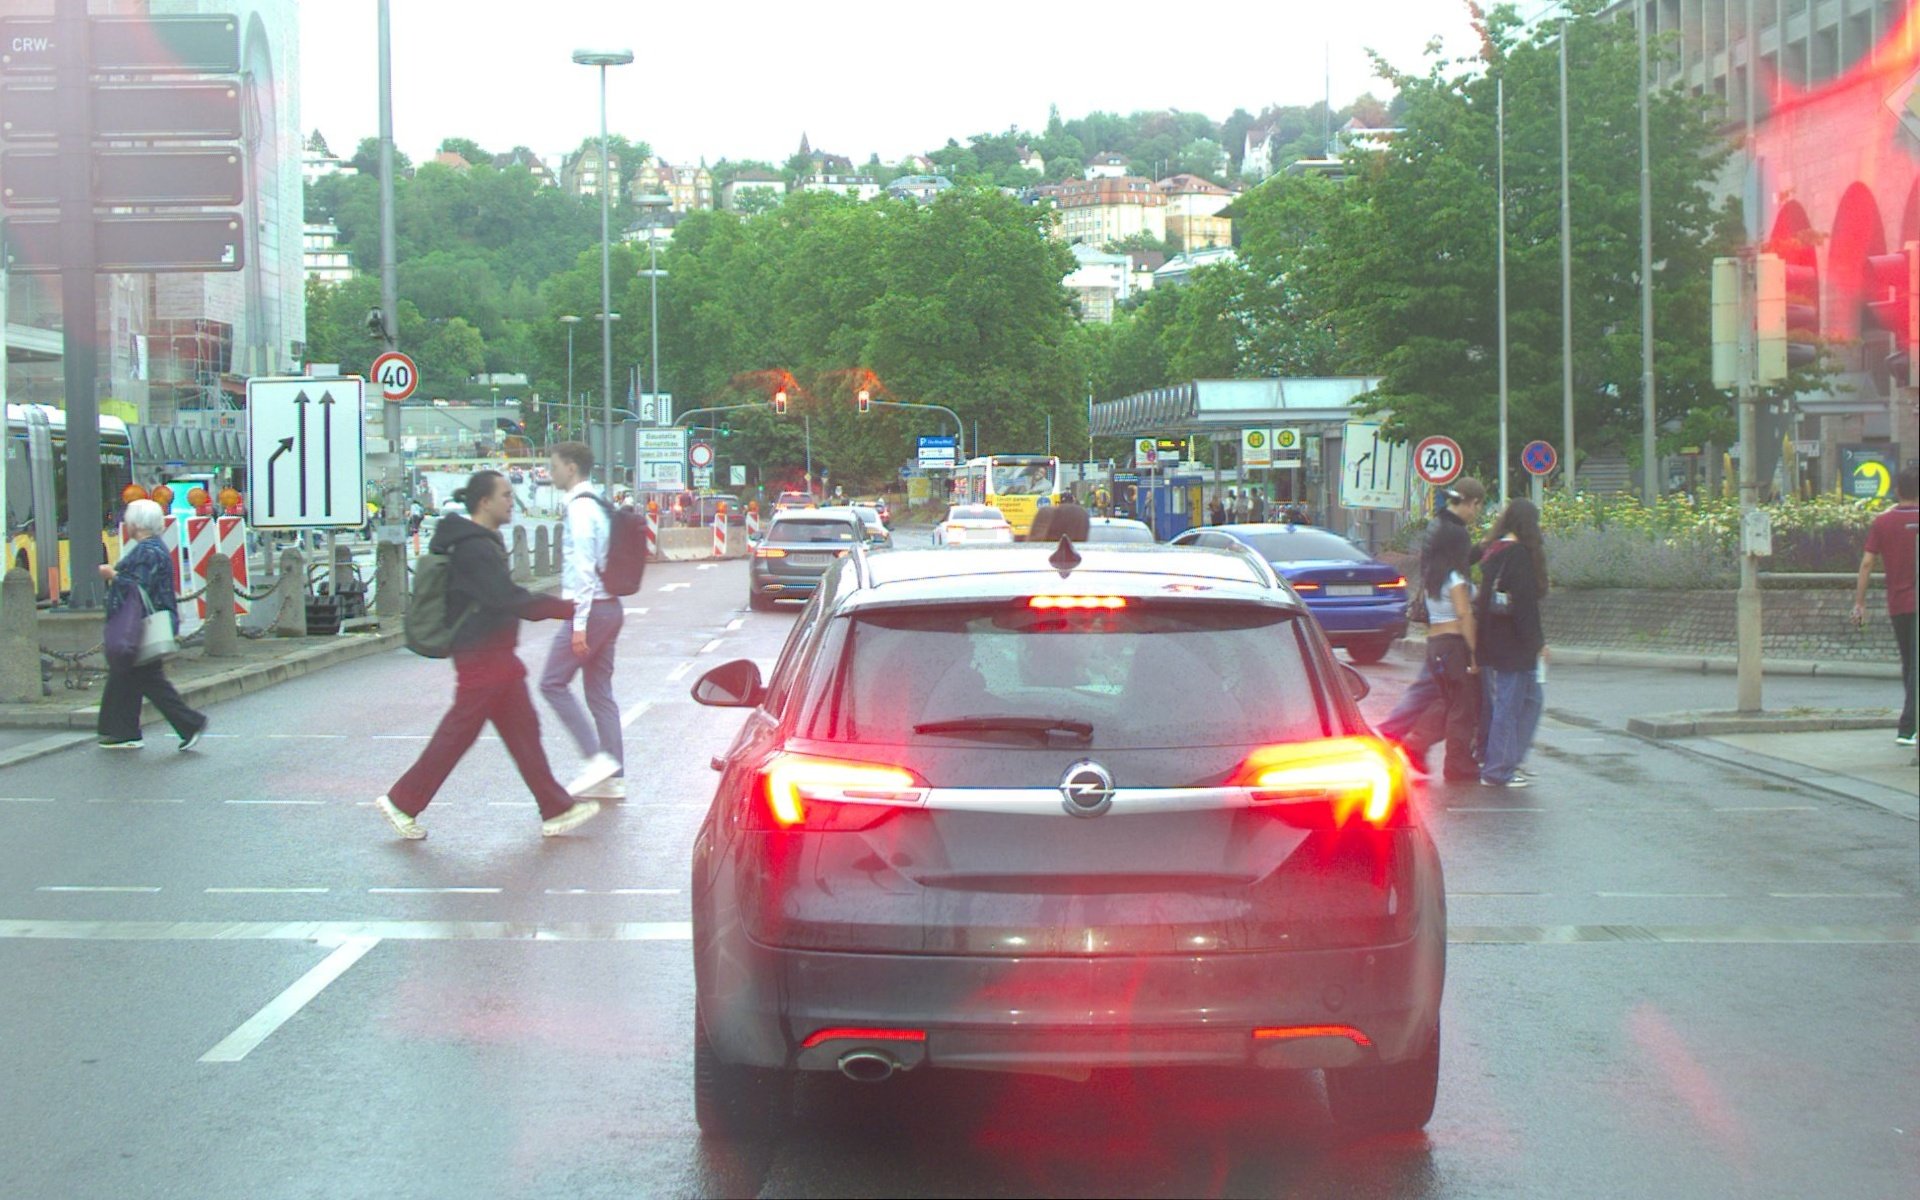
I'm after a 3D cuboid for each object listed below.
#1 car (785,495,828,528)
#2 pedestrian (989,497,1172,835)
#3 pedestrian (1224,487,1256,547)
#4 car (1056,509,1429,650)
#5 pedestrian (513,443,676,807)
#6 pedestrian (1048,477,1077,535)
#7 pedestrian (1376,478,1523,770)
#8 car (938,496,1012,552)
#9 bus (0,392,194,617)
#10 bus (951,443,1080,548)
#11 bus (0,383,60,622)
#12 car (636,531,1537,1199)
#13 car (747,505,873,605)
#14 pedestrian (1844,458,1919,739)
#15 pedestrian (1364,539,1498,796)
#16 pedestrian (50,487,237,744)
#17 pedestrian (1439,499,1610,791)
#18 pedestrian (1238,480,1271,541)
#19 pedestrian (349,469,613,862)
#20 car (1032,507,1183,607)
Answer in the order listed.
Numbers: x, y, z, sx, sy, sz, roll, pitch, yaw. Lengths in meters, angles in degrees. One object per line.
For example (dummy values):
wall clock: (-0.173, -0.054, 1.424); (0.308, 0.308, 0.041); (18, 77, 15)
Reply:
car: (-6.766, -3.877, 151.582); (1.759, 1.393, 3.564); (1, 1, -1)
pedestrian: (0.587, 0.313, 17.025); (0.793, 1.620, 0.900); (1, 1, -4)
pedestrian: (7.892, -2.333, 96.971); (0.763, 1.684, 0.825); (1, 1, -5)
car: (2.898, -0.249, 36.391); (1.753, 1.393, 4.650); (0, 1, -27)
pedestrian: (-1.937, 0.127, 18.158); (0.798, 1.884, 0.620); (1, 1, -9)
pedestrian: (4.338, -3.997, 145.654); (1.199, 2.427, 1.228); (1, 1, 1)
pedestrian: (2.916, 0.136, 20.507); (0.755, 1.711, 0.466); (1, 1, -4)
car: (0.365, -1.937, 88.113); (1.845, 1.393, 3.564); (1, 1, -1)
bus: (-15.837, -1.620, 60.126); (2.668, 3.589, 10.212); (1, 1, -1)
bus: (1.840, -3.613, 122.449); (4.173, 3.457, 14.655); (1, 1, -1)
bus: (-15.716, -1.453, 49.941); (2.668, 3.589, 10.240); (1, 1, -1)
car: (0.230, 0.577, 9.233); (1.874, 1.481, 4.000); (1, 1, -1)
car: (-2.192, -0.672, 50.784); (1.753, 1.393, 4.538); (1, 1, -2)
pedestrian: (6.033, -0.015, 21.749); (0.570, 1.746, 0.679); (2, 1, 42)
pedestrian: (2.729, 0.388, 19.949); (0.678, 1.469, 0.366); (1, 1, -5)
pedestrian: (-5.081, 0.084, 21.381); (0.872, 1.555, 0.787); (0, 1, -37)
pedestrian: (3.166, 0.245, 19.336); (0.799, 1.603, 0.620); (1, 1, -4)
pedestrian: (8.189, -2.482, 95.612); (0.763, 1.684, 0.825); (1, 1, -5)
pedestrian: (-2.210, 0.290, 15.956); (1.096, 1.745, 0.654); (-2, 1, -3)
car: (2.141, -0.647, 50.911); (1.753, 1.393, 4.403); (1, 1, -4)
